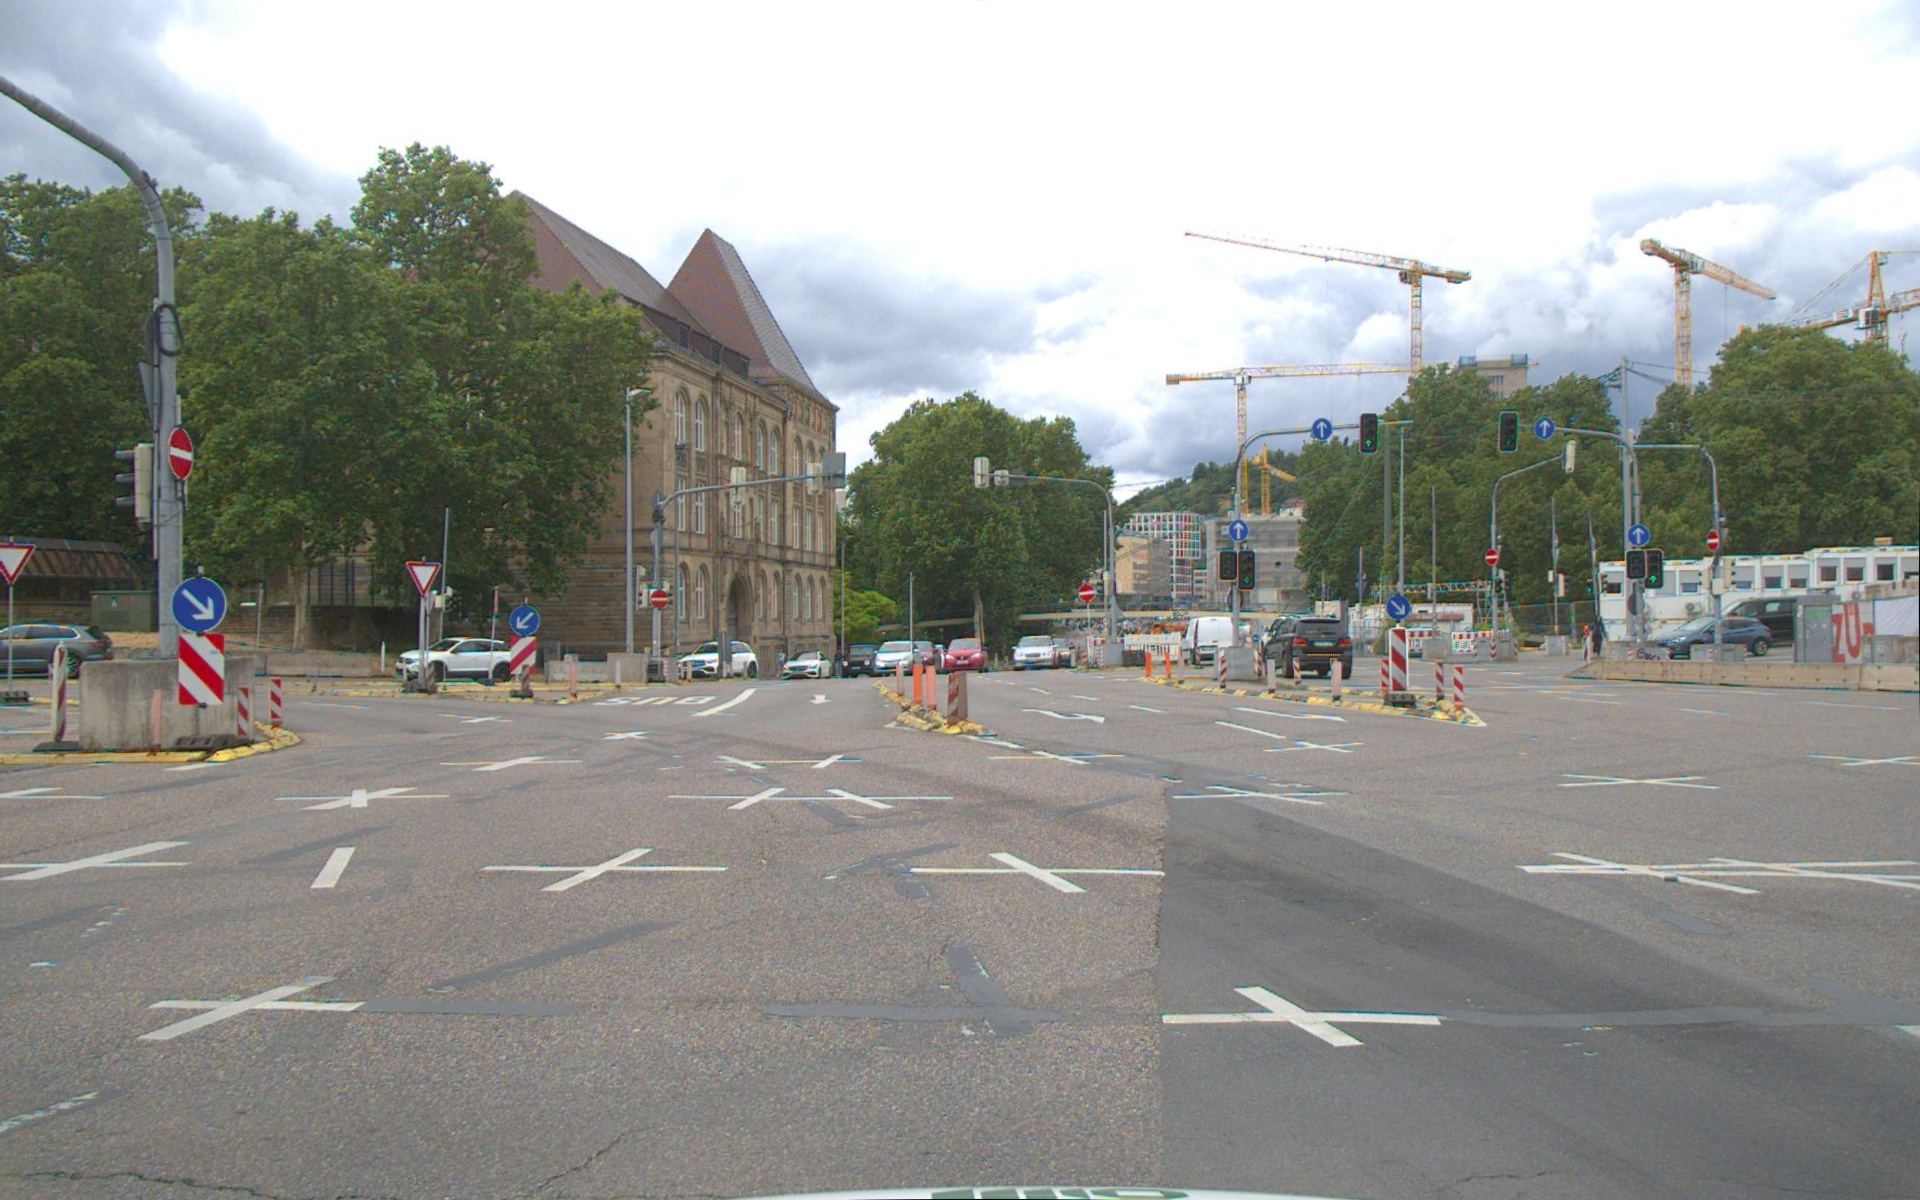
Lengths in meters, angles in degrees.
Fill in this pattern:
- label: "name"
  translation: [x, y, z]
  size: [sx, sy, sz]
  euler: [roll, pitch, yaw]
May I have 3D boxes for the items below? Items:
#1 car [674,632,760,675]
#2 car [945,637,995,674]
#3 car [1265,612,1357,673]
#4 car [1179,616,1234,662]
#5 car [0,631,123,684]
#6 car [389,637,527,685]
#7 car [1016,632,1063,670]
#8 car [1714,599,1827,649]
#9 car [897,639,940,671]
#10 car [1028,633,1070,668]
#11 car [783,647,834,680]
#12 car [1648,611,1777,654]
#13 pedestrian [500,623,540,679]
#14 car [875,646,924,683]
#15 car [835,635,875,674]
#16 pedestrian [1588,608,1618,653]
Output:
- label: "car"
  translation: [-9.824, 2.147, 67.275]
  size: [1.773, 1.671, 4.555]
  euler: [0, -1, 16]
- label: "car"
  translation: [0.440, 2.286, 68.799]
  size: [1.650, 1.460, 3.449]
  euler: [-2, -2, 7]
- label: "car"
  translation: [10.187, 1.265, 48.267]
  size: [1.898, 1.696, 3.641]
  euler: [-1, -2, 0]
- label: "car"
  translation: [9.403, 1.506, 63.235]
  size: [1.722, 1.717, 3.643]
  euler: [-1, -2, 3]
- label: "car"
  translation: [-28.488, 1.756, 51.104]
  size: [4.392, 1.595, 1.821]
  euler: [0, 0, -16]
- label: "car"
  translation: [-17.380, 2.099, 57.359]
  size: [1.726, 1.595, 4.301]
  euler: [0, -2, 44]
- label: "car"
  translation: [3.308, 2.117, 68.667]
  size: [1.653, 1.460, 3.449]
  euler: [-3, -2, 7]
- label: "car"
  translation: [33.751, 1.002, 68.908]
  size: [3.920, 2.049, 1.992]
  euler: [0, -1, -15]
- label: "car"
  translation: [-1.918, 2.567, 77.463]
  size: [1.625, 1.461, 3.448]
  euler: [0, -1, 5]
- label: "car"
  translation: [4.088, 2.305, 75.430]
  size: [1.653, 1.460, 3.449]
  euler: [-3, -2, 7]
- label: "car"
  translation: [-7.296, 3.051, 79.804]
  size: [1.698, 1.460, 4.383]
  euler: [0, -1, 5]
- label: "car"
  translation: [27.249, 1.169, 59.930]
  size: [3.984, 1.460, 1.781]
  euler: [0, -1, -13]
- label: "pedestrian"
  translation: [-16.591, 1.917, 62.372]
  size: [1.180, 2.049, 1.190]
  euler: [1, -2, -33]
- label: "car"
  translation: [-2.549, 2.780, 70.327]
  size: [1.625, 1.461, 3.448]
  euler: [-3, -3, 5]
- label: "car"
  translation: [-6.056, 3.149, 95.582]
  size: [1.892, 1.972, 3.673]
  euler: [-2, -5, 2]
- label: "pedestrian"
  translation: [23.862, 1.137, 61.373]
  size: [0.610, 1.620, 0.847]
  euler: [0, -2, -15]
